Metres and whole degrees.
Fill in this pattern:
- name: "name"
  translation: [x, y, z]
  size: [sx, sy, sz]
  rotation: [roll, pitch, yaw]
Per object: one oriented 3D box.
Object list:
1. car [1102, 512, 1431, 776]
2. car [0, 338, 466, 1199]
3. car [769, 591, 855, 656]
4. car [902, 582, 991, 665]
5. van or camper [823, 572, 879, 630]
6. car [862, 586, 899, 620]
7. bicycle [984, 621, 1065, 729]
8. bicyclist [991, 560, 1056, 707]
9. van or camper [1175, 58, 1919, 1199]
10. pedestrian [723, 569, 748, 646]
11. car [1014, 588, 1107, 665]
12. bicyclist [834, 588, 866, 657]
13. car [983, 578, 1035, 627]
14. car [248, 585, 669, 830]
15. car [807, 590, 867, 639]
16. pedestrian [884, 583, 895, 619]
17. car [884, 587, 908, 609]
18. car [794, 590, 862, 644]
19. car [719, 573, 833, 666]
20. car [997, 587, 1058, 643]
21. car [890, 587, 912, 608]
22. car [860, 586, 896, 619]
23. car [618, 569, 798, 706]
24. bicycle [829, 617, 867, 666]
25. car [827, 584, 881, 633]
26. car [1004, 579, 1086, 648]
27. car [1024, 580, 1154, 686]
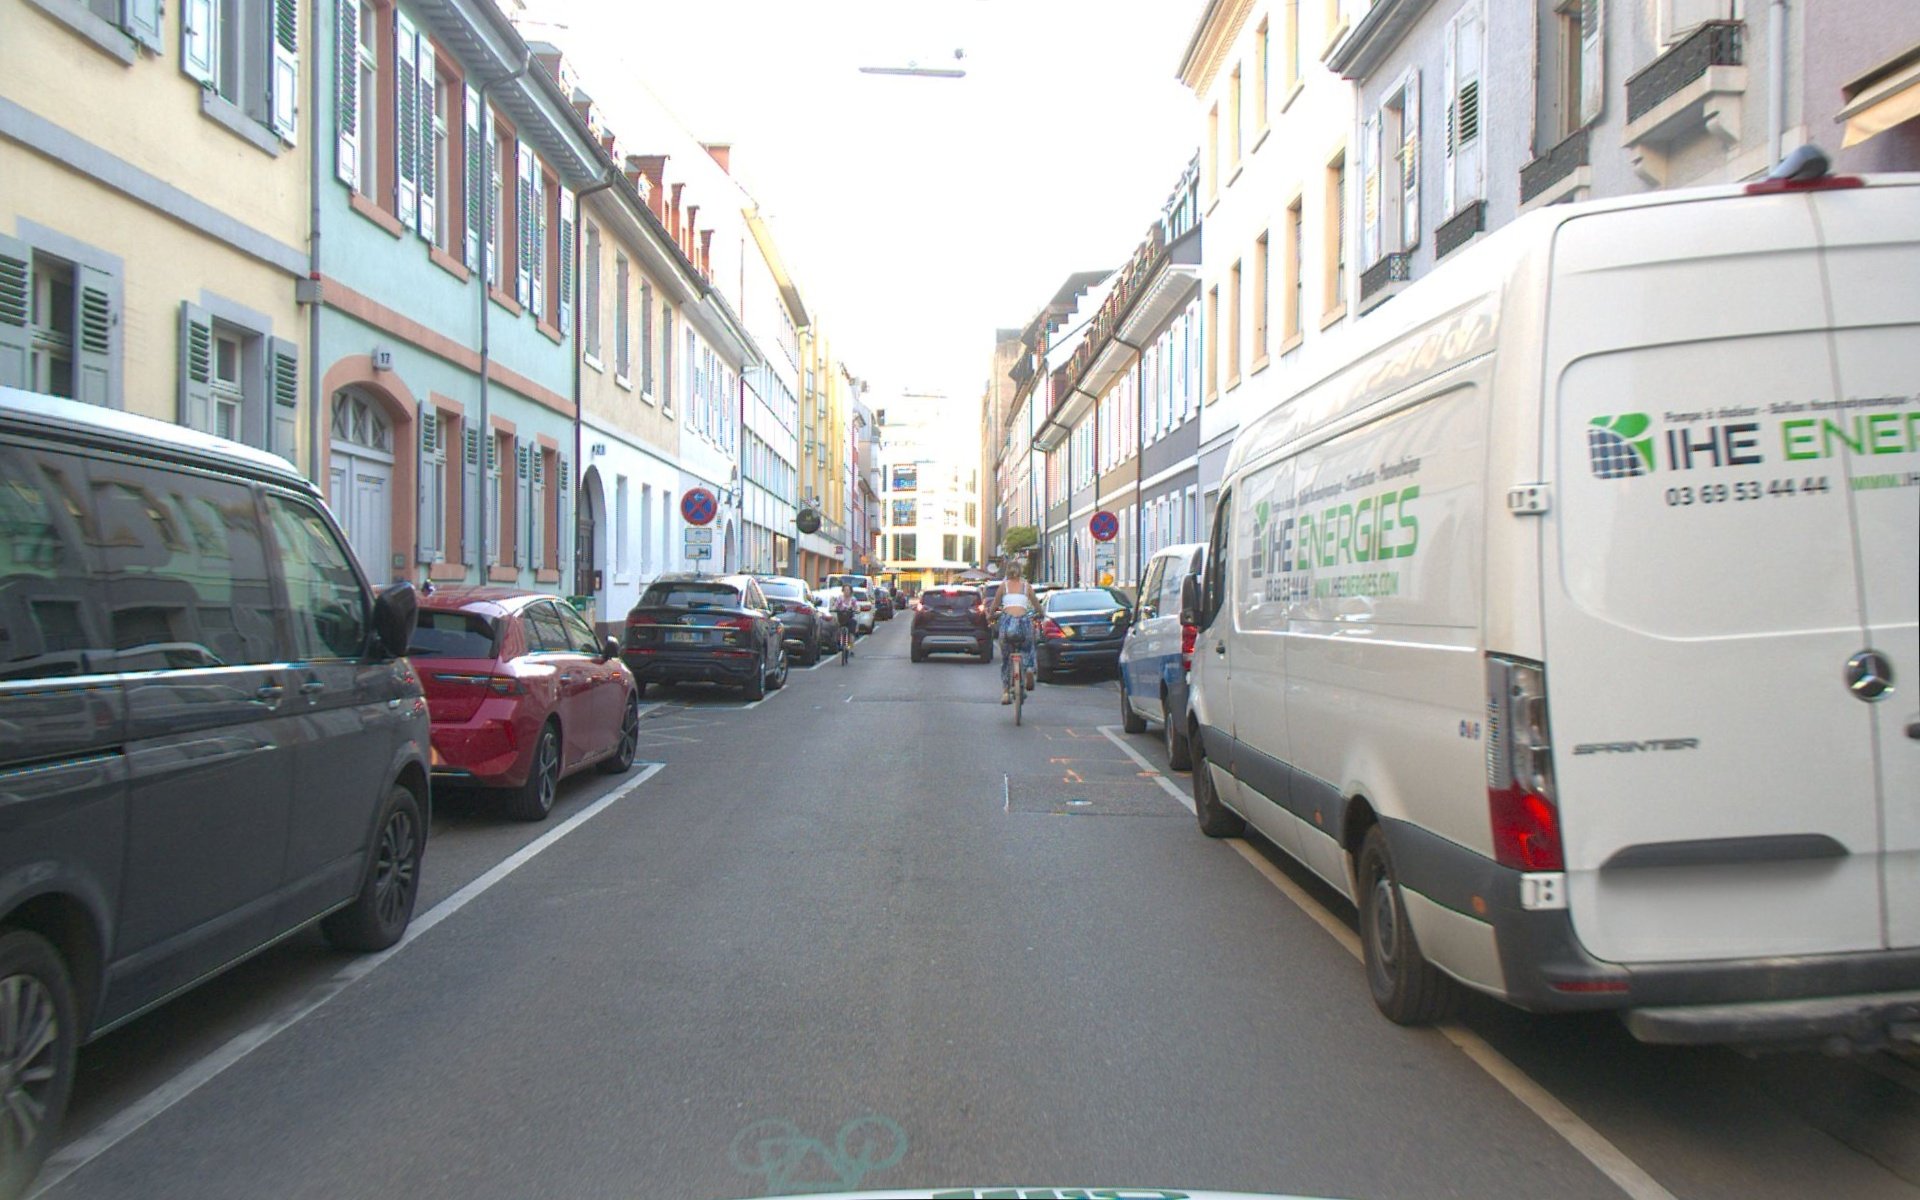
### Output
- name: "car"
  translation: [2.592, 0.332, 15.401]
  size: [1.902, 1.927, 5.316]
  rotation: [-3, 0, -1]
- name: "car"
  translation: [-3.066, 0.439, 5.070]
  size: [1.825, 2.049, 4.812]
  rotation: [0, 0, -2]
- name: "car"
  translation: [-3.567, 0.531, 40.534]
  size: [1.879, 1.459, 4.291]
  rotation: [2, 0, -3]
- name: "car"
  translation: [-0.322, 0.472, 35.774]
  size: [1.782, 1.646, 3.999]
  rotation: [2, 0, -1]
- name: "van or camper"
  translation: [-4.097, 0.023, 62.784]
  size: [1.807, 2.048, 4.677]
  rotation: [2, 0, -1]
- name: "car"
  translation: [-3.821, 0.134, 79.615]
  size: [1.620, 1.588, 3.605]
  rotation: [2, 0, -1]
- name: "bicycle"
  translation: [0.688, 0.801, 18.267]
  size: [0.602, 1.101, 1.806]
  rotation: [1, 0, -7]
- name: "bicyclist"
  translation: [0.697, 0.364, 18.361]
  size: [0.609, 1.602, 0.682]
  rotation: [1, 0, -7]
- name: "van or camper"
  translation: [2.424, 0.041, 7.426]
  size: [2.008, 2.683, 7.062]
  rotation: [0, 0, 0]
- name: "pedestrian"
  translation: [-5.981, 0.199, 44.068]
  size: [0.598, 2.049, 0.449]
  rotation: [1, 0, -4]
- name: "car"
  translation: [2.092, 0.516, 35.296]
  size: [1.642, 1.512, 3.999]
  rotation: [2, 0, -1]
- name: "bicyclist"
  translation: [-2.241, 0.457, 33.668]
  size: [0.593, 1.393, 0.621]
  rotation: [1, 0, 0]
- name: "car"
  translation: [1.677, 0.080, 57.730]
  size: [1.620, 1.588, 3.605]
  rotation: [2, 0, -1]
- name: "car"
  translation: [-3.323, 0.624, 11.870]
  size: [1.729, 1.426, 4.262]
  rotation: [1, 0, 0]
- name: "car"
  translation: [-3.840, 0.424, 52.108]
  size: [1.620, 1.435, 3.605]
  rotation: [2, 0, -1]
- name: "pedestrian"
  translation: [-3.554, 0.064, 83.378]
  size: [0.543, 1.782, 0.568]
  rotation: [1, 0, -4]
- name: "car"
  translation: [-4.836, -0.176, 124.971]
  size: [1.620, 1.588, 3.605]
  rotation: [2, 0, -1]
- name: "car"
  translation: [-3.711, 0.449, 47.019]
  size: [1.620, 1.435, 3.902]
  rotation: [2, 0, -1]
- name: "car"
  translation: [-3.720, 0.370, 34.163]
  size: [1.958, 1.737, 4.534]
  rotation: [2, 0, -2]
- name: "car"
  translation: [2.002, 0.419, 50.147]
  size: [1.620, 1.588, 3.605]
  rotation: [2, 0, -1]
- name: "car"
  translation: [-4.687, -0.201, 131.744]
  size: [1.620, 1.588, 3.605]
  rotation: [2, 0, -1]
- name: "car"
  translation: [-4.190, 0.127, 84.914]
  size: [1.620, 1.588, 3.605]
  rotation: [2, 0, -1]
- name: "car"
  translation: [-3.385, 0.456, 23.002]
  size: [1.766, 1.706, 4.490]
  rotation: [0, 0, 0]
- name: "bicycle"
  translation: [-2.270, 0.832, 33.638]
  size: [0.601, 0.948, 1.886]
  rotation: [1, 0, 0]
- name: "car"
  translation: [-3.622, 0.287, 57.091]
  size: [1.620, 1.588, 3.605]
  rotation: [2, 0, -1]
- name: "car"
  translation: [2.281, 0.336, 45.399]
  size: [1.879, 1.768, 4.151]
  rotation: [2, 0, -2]
- name: "car"
  translation: [2.104, 0.501, 28.243]
  size: [1.782, 1.556, 5.071]
  rotation: [-3, 0, 0]
